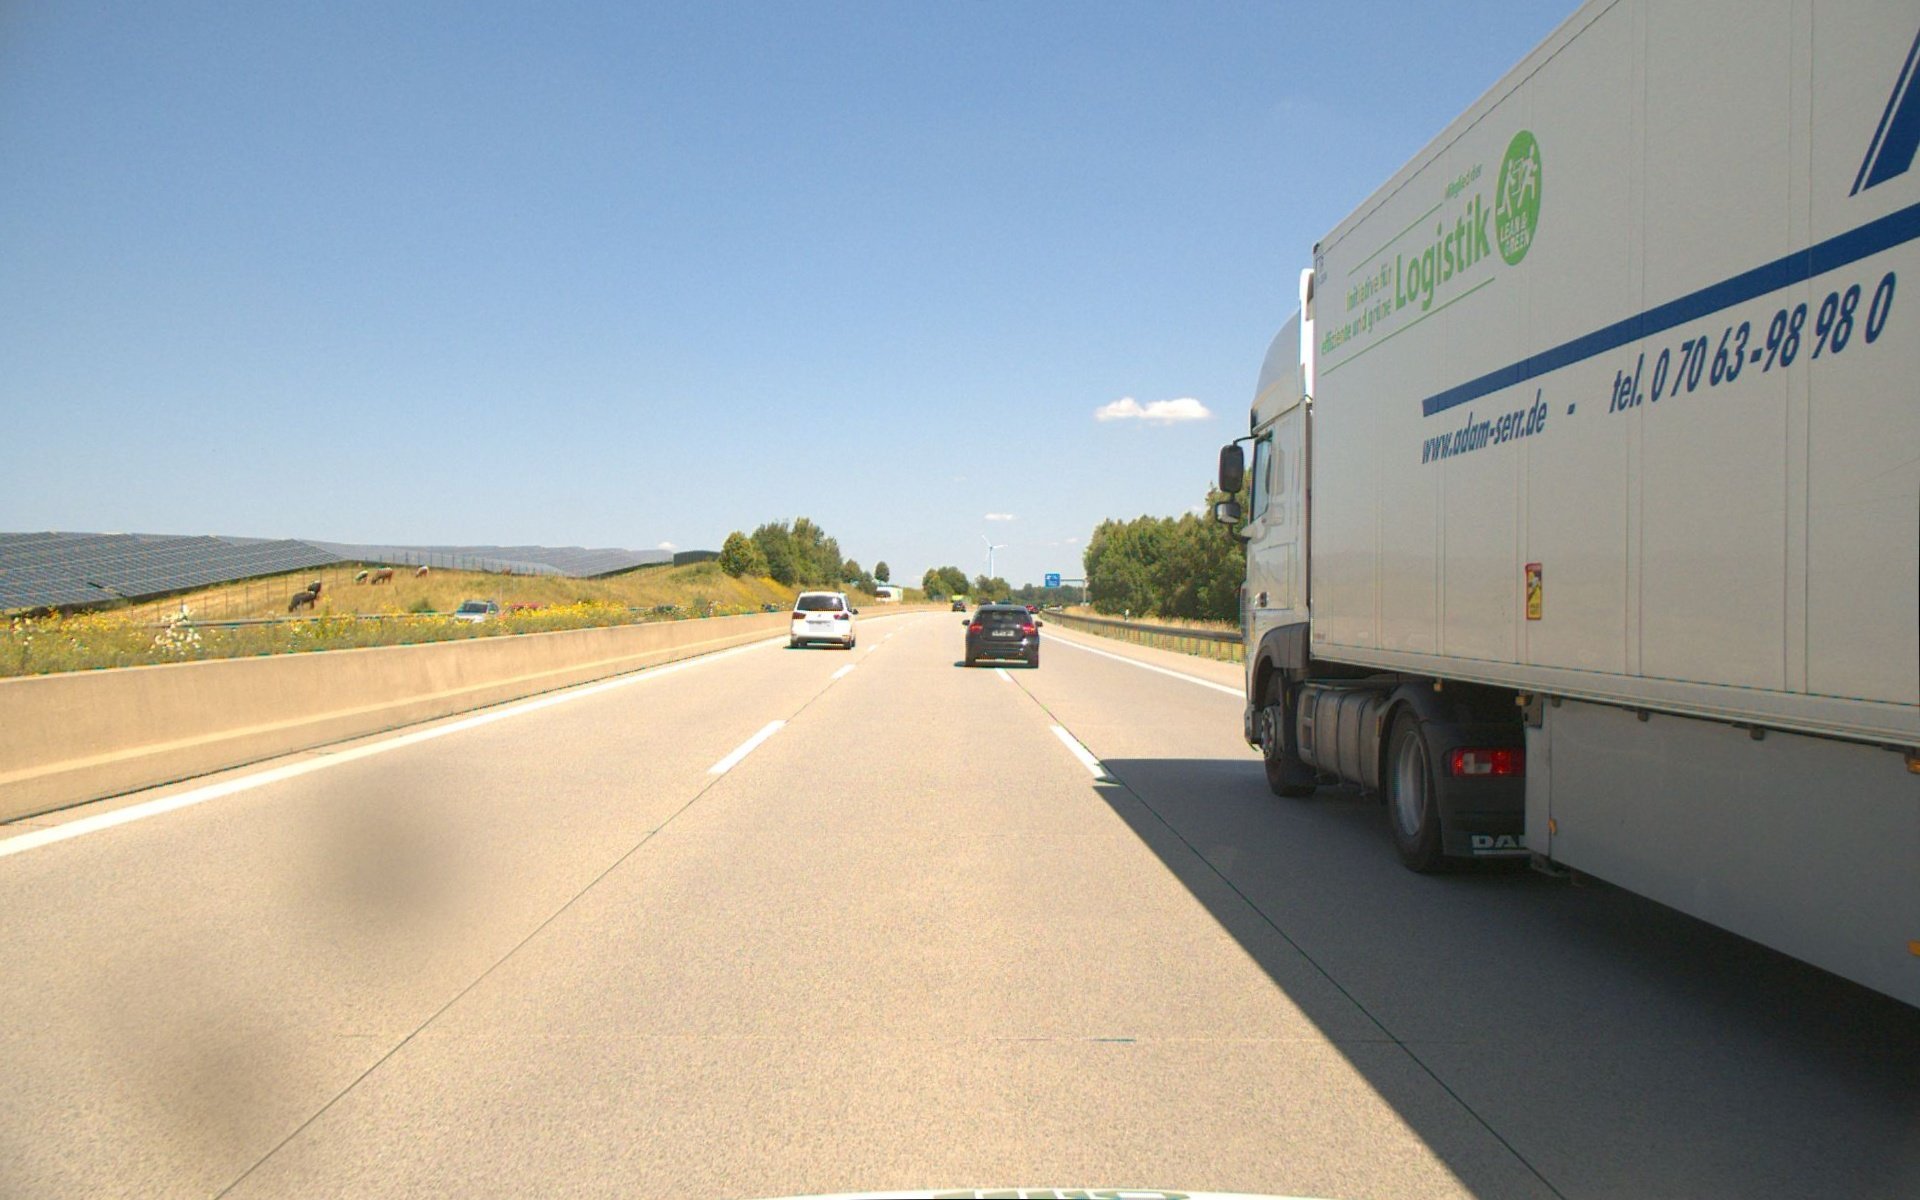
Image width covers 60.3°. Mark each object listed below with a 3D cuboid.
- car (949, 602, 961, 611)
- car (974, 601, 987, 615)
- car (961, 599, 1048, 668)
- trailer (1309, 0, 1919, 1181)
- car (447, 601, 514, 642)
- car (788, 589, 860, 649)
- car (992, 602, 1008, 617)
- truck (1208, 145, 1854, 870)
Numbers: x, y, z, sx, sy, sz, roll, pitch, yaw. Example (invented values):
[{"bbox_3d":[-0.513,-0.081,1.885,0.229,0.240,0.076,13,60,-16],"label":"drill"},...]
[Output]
[{"bbox_3d":[-0.738,0.899,240.028,1.622,1.217,3.959,3,0,-1],"label":"car"},{"bbox_3d":[2.879,1.153,230.356,1.789,1.971,3.809,0,0,0],"label":"car"},{"bbox_3d":[1.022,0.758,39.890,1.872,1.518,4.190,1,0,-1],"label":"car"},{"bbox_3d":[3.897,-0.534,4.820,2.795,4.113,12.710,1,0,-1],"label":"trailer"},{"bbox_3d":[-19.887,0.868,68.776,1.616,1.579,3.967,2,0,0],"label":"car"},{"bbox_3d":[-4.199,0.593,51.787,1.808,1.738,6.034,1,0,-1],"label":"car"},{"bbox_3d":[5.084,1.229,210.420,1.789,1.940,4.002,1,0,3],"label":"car"},{"bbox_3d":[3.753,-0.530,12.484,2.755,4.159,5.797,1,0,-1],"label":"truck"}]
